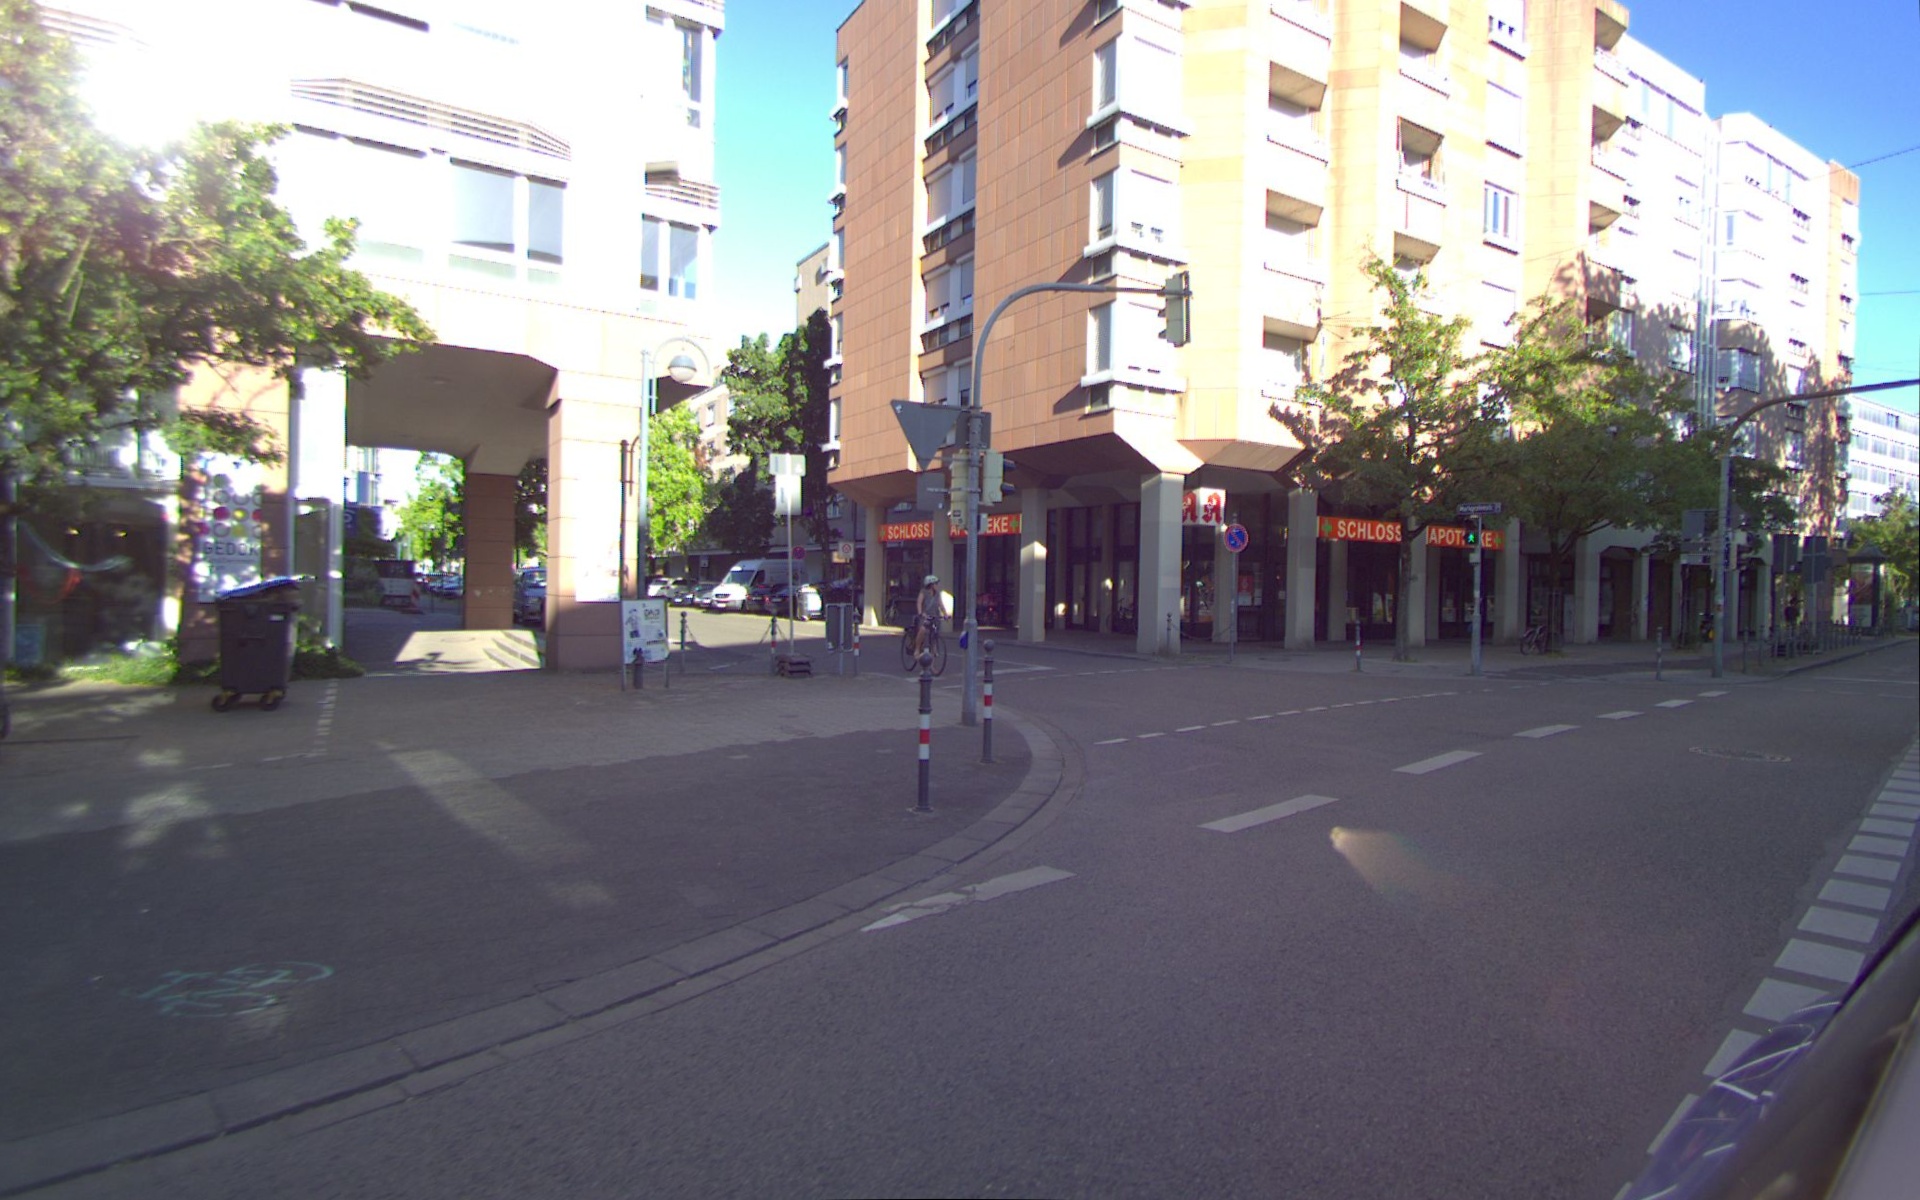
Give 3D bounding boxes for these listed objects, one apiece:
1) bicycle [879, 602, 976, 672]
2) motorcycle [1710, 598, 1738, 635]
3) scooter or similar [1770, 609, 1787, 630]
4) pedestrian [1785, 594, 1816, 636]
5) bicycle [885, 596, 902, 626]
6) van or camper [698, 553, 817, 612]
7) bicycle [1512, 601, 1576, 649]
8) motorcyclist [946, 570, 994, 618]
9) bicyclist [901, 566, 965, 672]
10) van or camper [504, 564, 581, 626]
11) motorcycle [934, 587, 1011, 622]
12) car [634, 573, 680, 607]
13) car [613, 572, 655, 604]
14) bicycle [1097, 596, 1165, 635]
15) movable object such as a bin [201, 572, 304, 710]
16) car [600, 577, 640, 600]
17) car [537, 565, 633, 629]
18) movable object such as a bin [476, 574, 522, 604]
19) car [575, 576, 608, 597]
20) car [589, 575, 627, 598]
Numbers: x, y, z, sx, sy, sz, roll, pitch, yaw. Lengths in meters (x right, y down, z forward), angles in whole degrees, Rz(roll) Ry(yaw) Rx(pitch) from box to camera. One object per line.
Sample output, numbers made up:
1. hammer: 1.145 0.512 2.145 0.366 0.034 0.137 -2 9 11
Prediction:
1. bicycle: -0.601 0.619 17.845 0.788 1.127 1.922 1 1 -34
2. motorcycle: 29.735 0.629 39.393 2.055 1.390 0.489 1 0 -43
3. scooter or similar: 48.634 1.138 60.162 0.481 1.232 1.436 1 0 28
4. pedestrian: 35.791 0.635 43.090 0.821 1.760 0.784 1 1 -34
5. bicycle: -2.424 0.397 37.091 0.600 1.032 1.318 1 1 -3
6. van or camper: -10.093 -0.859 51.001 2.337 2.801 6.389 1 1 28
7. bicycle: 15.654 0.670 27.118 1.888 1.241 0.624 1 0 -30
8. motorcyclist: 0.368 -0.213 37.001 1.311 1.710 1.174 0 0 -39
9. bicyclist: -0.473 0.306 17.660 0.773 1.792 0.828 1 1 -34
10. van or camper: -14.354 -0.212 34.656 1.765 1.997 4.581 1 1 -31
11. motorcycle: 0.430 0.150 36.803 1.324 1.193 2.827 1 1 -38
12. car: -18.970 -0.630 63.226 1.960 2.039 4.004 0 0 -29
13. car: -21.811 -0.790 67.604 1.960 2.039 4.004 0 0 -29
14. bicycle: 5.276 0.453 31.416 0.582 1.108 2.452 1 1 -33
15. movable object such as a bin: -8.239 0.431 11.842 0.854 1.500 1.416 1 0 -31
16. car: -24.045 -0.812 71.548 1.960 1.605 4.004 0 0 -29
17. car: -11.226 -0.128 30.147 1.766 1.743 4.201 1 1 -33
18. movable object such as a bin: -23.697 -0.587 52.016 2.114 1.518 1.734 -1 1 -26
19. car: -29.658 -1.071 81.382 1.831 1.605 4.004 0 0 -29
20. car: -26.148 -0.986 75.138 1.960 1.605 4.004 0 0 -29
